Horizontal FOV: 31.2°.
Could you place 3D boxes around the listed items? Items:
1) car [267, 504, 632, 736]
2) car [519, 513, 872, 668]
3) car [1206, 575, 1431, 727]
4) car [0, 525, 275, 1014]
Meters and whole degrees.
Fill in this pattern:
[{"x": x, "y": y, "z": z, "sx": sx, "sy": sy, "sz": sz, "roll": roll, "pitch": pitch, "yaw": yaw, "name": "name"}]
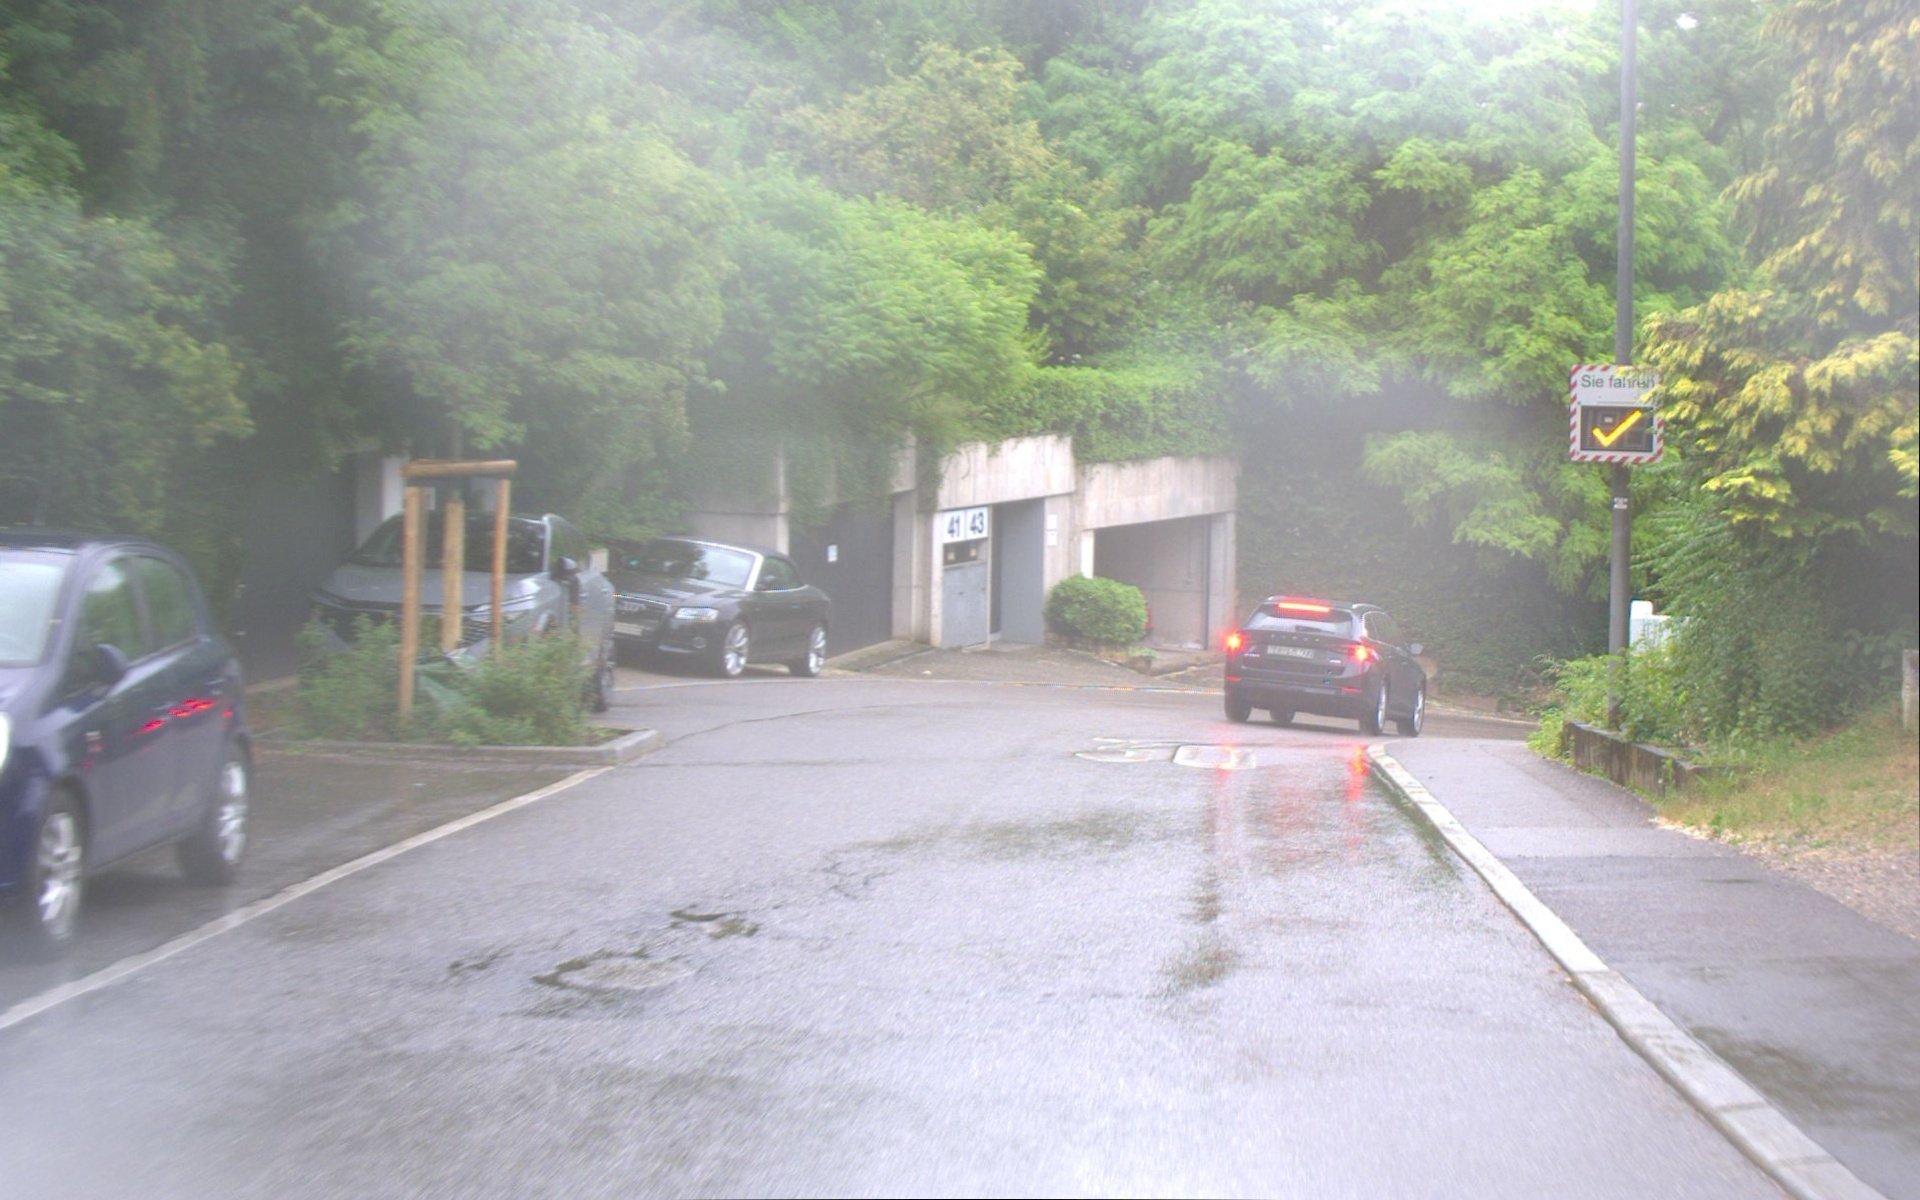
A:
[{"x": -3.892, "y": 0.113, "z": 26.900, "sx": 1.994, "sy": 1.635, "sz": 4.000, "roll": 1, "pitch": 1, "yaw": 4, "name": "car"}, {"x": -2.721, "y": -0.127, "z": 36.594, "sx": 1.996, "sy": 1.503, "sz": 4.566, "roll": 2, "pitch": 1, "yaw": 20, "name": "car"}, {"x": 4.147, "y": 0.581, "z": 39.242, "sx": 1.870, "sy": 1.507, "sz": 4.089, "roll": 4, "pitch": 0, "yaw": 14, "name": "car"}, {"x": -3.797, "y": 0.478, "z": 12.668, "sx": 1.699, "sy": 1.466, "sz": 4.000, "roll": 1, "pitch": 2, "yaw": 0, "name": "car"}]
